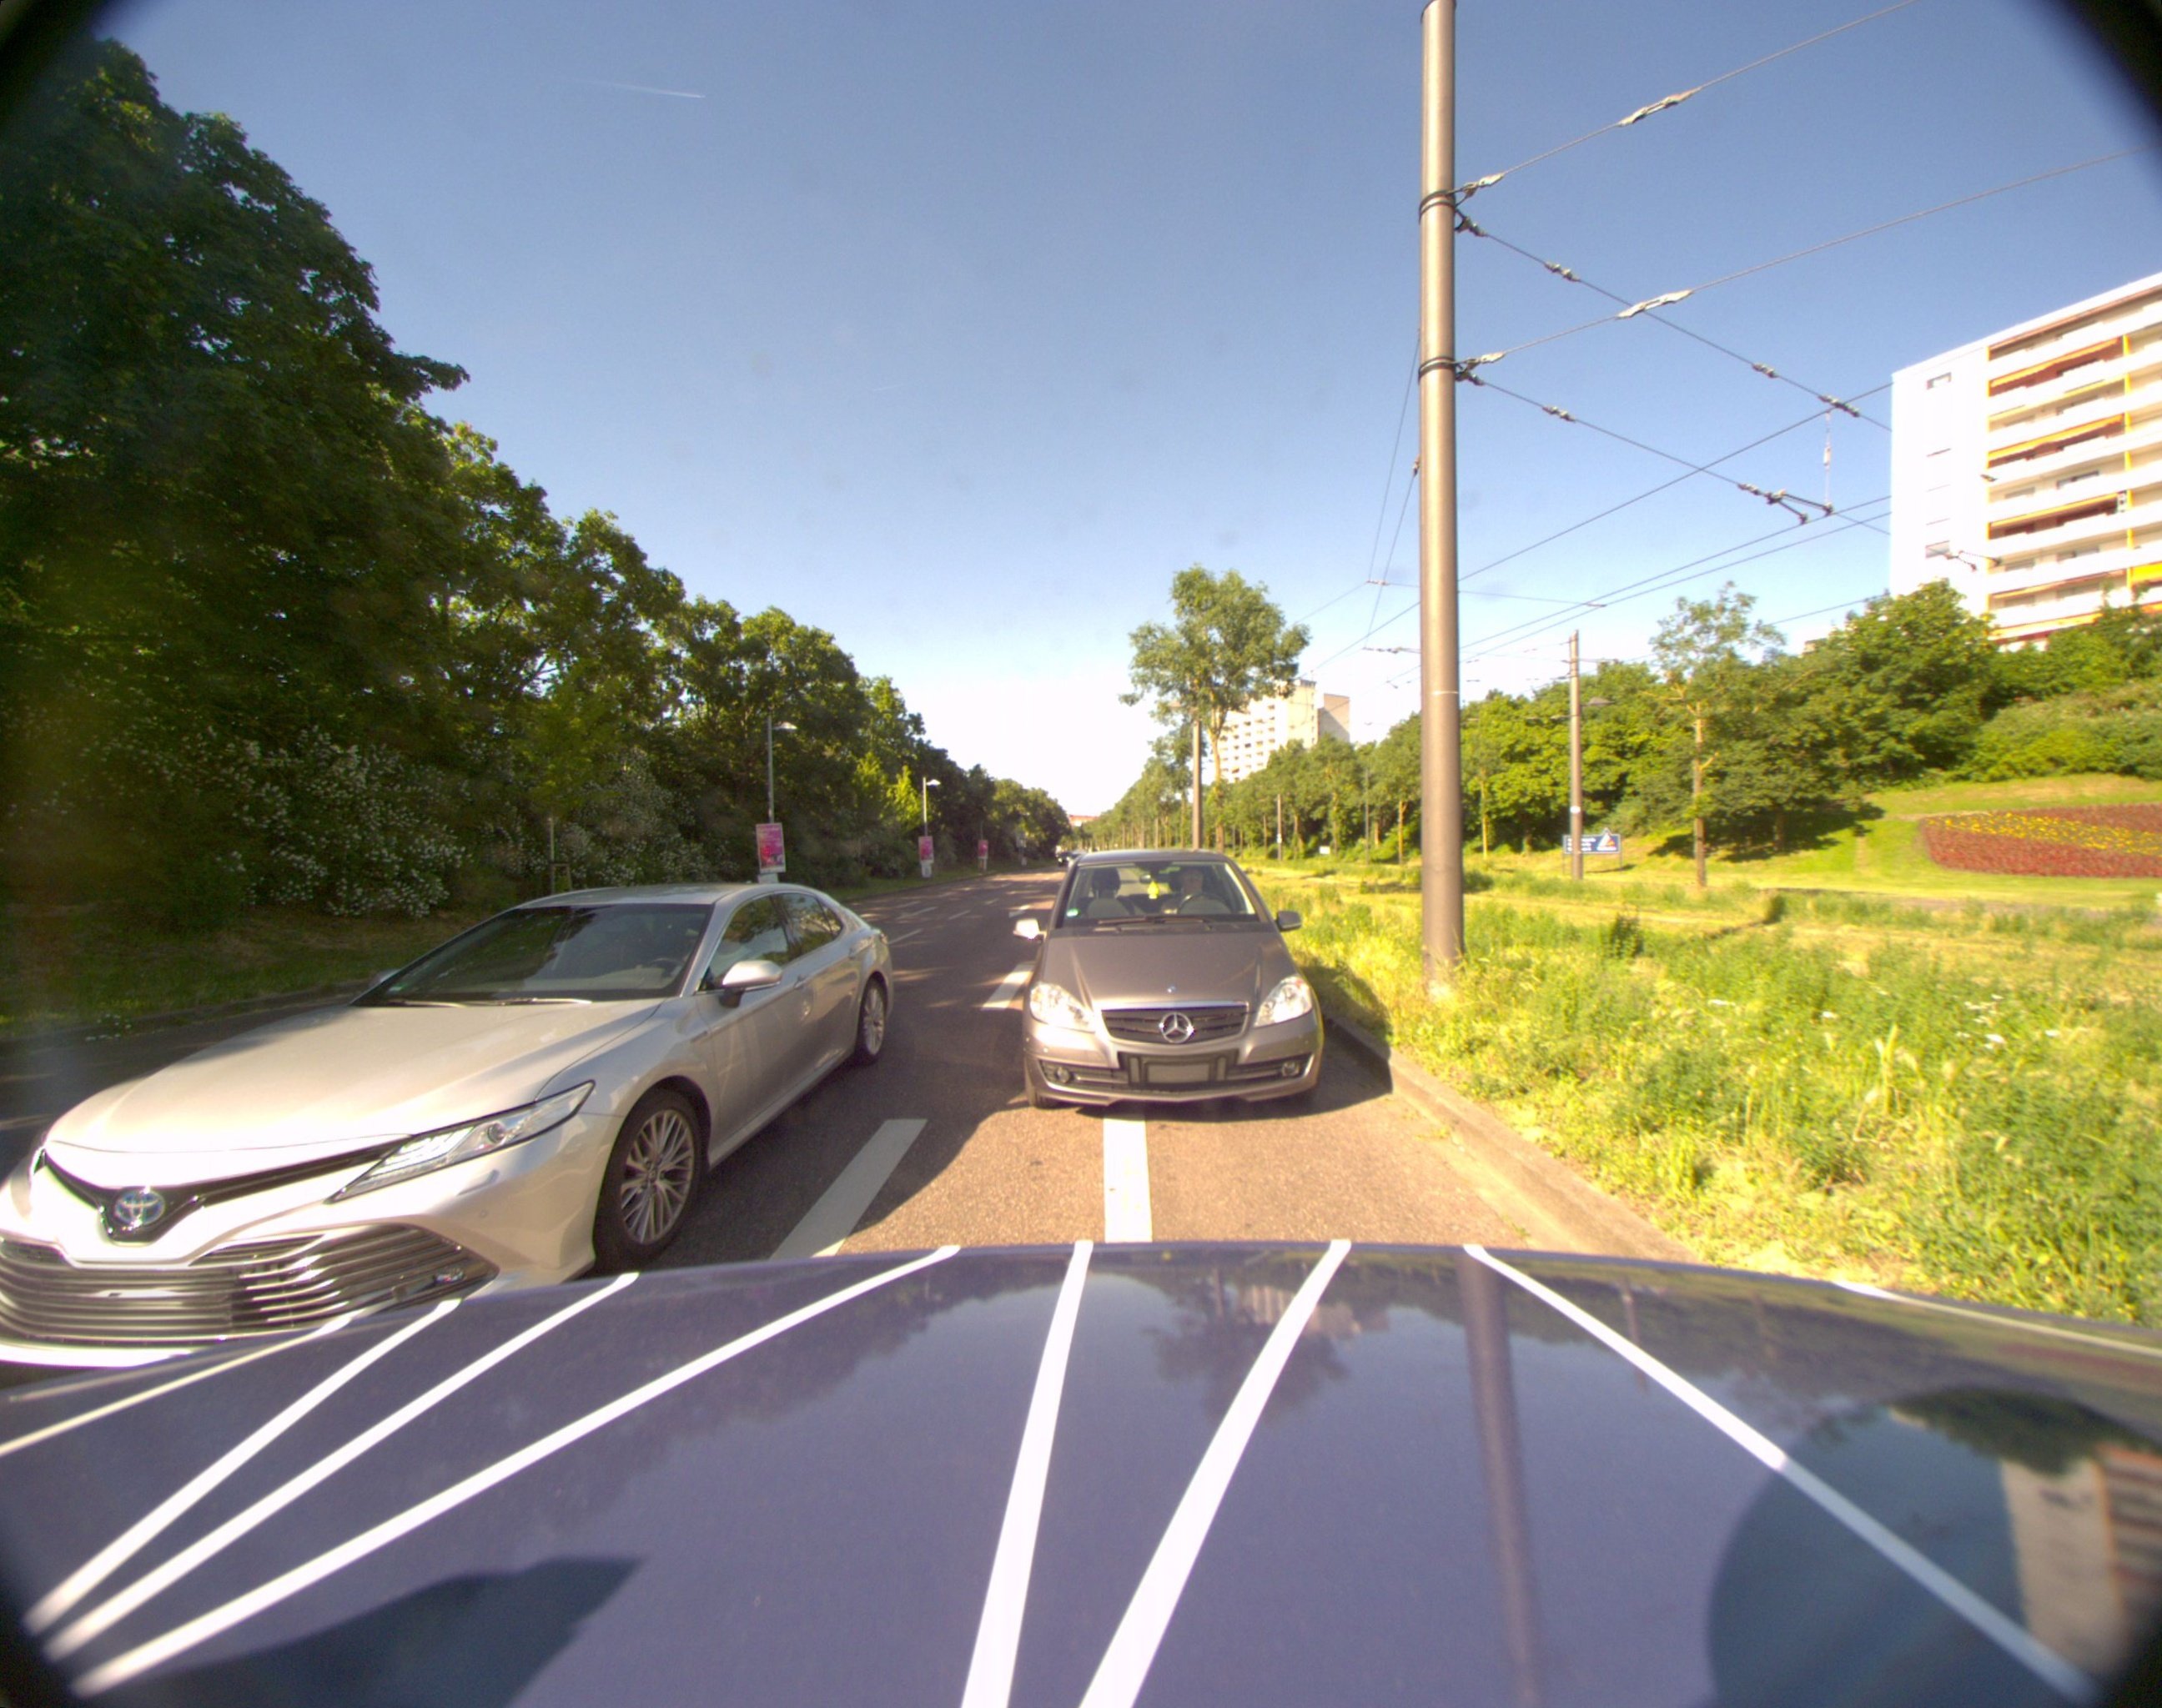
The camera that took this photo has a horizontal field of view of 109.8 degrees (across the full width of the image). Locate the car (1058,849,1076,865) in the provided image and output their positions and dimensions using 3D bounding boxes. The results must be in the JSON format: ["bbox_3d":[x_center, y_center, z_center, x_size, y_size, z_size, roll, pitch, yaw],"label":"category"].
[{"bbox_3d":[-1.697,0.377,94.241,1.998,1.882,5.148,-1,0,1],"label":"car"}]

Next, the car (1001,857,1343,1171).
[{"bbox_3d":[0.511,0.855,6.190,1.777,1.597,4.384,-1,0,1],"label":"car"}]

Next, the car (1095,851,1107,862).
[{"bbox_3d":[2.874,0.354,108.390,1.776,1.395,4.067,-1,0,2],"label":"car"}]

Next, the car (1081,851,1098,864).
[{"bbox_3d":[0.936,0.363,81.547,1.776,1.395,4.067,-1,0,2],"label":"car"}]

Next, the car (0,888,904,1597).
[{"bbox_3d":[-2.646,1.048,4.198,2.069,1.451,4.749,-1,0,2],"label":"car"}]

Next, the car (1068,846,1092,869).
[{"bbox_3d":[-0.043,0.260,64.378,1.822,1.893,4.622,-1,0,2],"label":"car"}]
